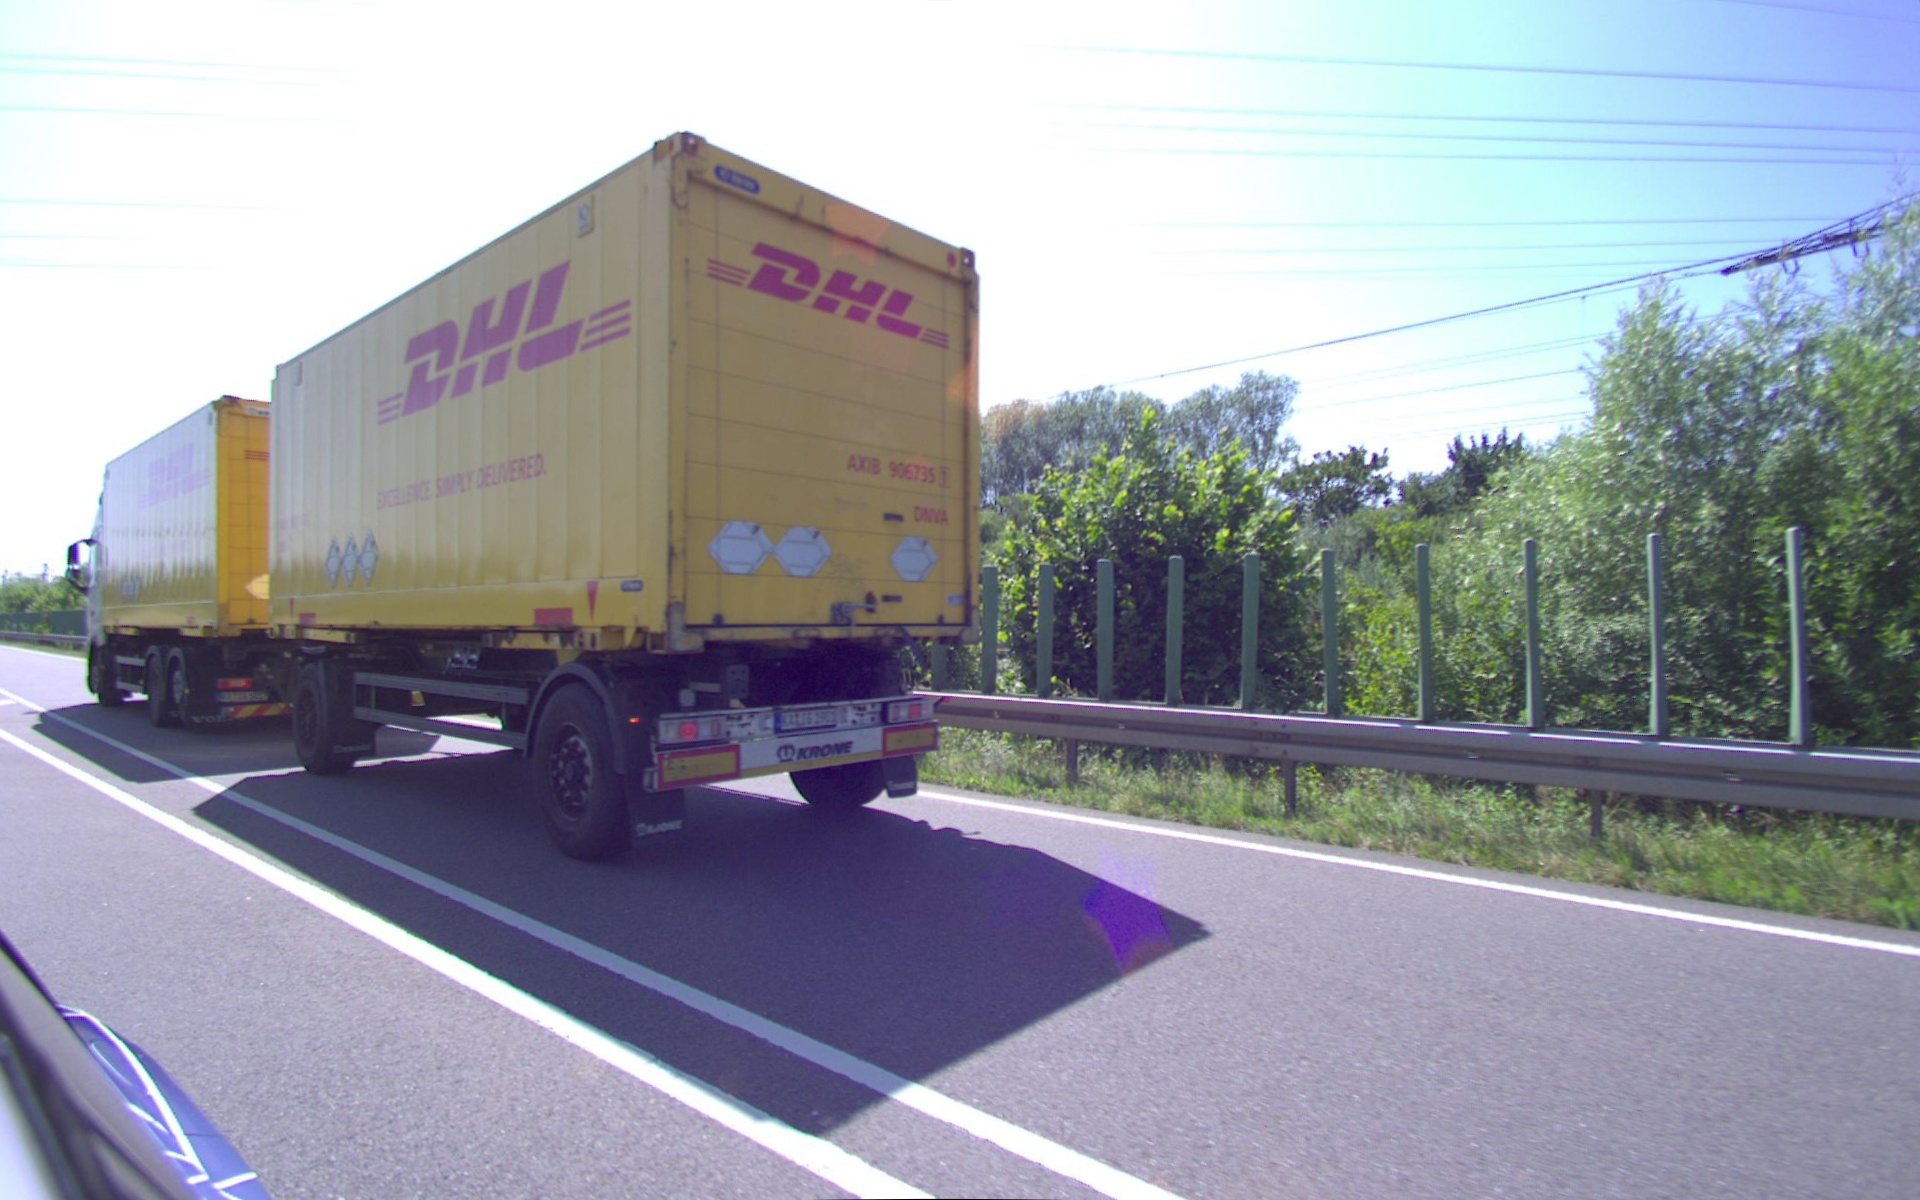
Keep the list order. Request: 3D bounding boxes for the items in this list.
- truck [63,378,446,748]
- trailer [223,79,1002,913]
[{"bbox_3d":[-11.527,-0.326,15.845,10.600,4.160,2.521,-1,-1,42],"label":"truck"},{"bbox_3d":[-3.967,-0.448,9.115,9.227,4.176,2.521,-1,-1,42],"label":"trailer"}]
